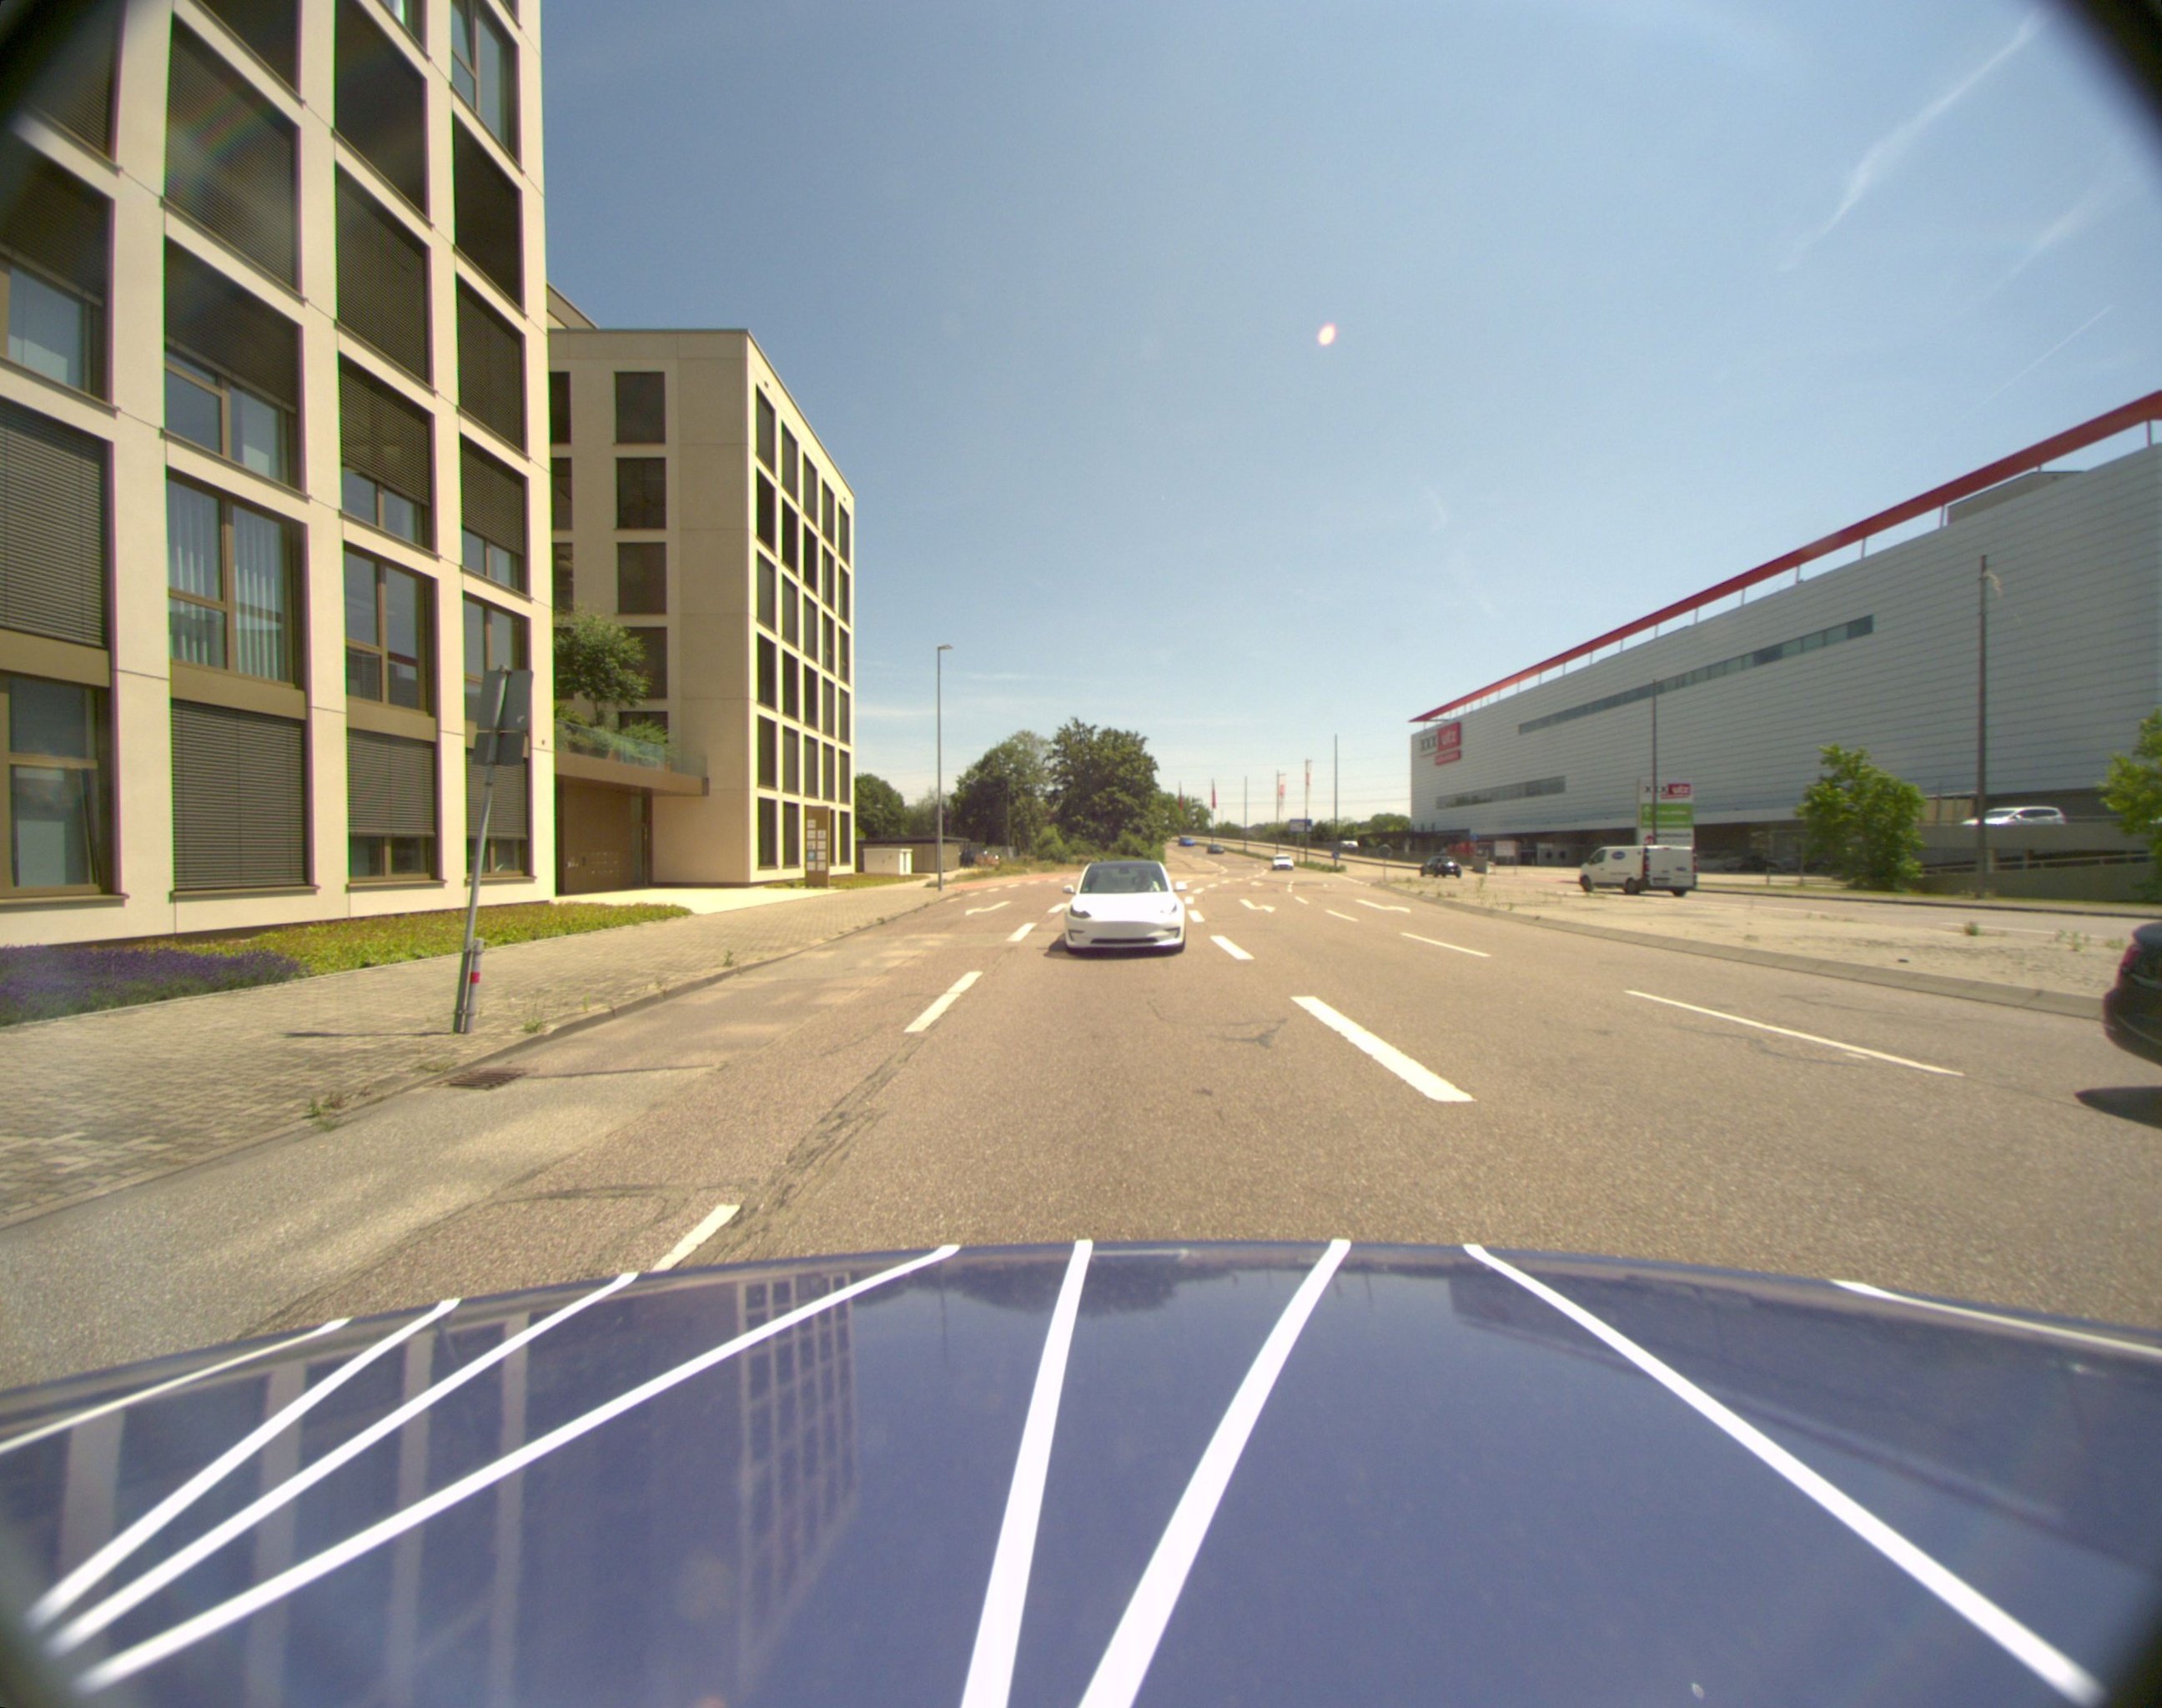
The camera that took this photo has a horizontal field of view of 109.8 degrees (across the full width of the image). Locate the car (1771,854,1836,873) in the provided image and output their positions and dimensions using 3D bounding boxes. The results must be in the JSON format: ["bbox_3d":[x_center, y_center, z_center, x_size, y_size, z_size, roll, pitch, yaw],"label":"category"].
[{"bbox_3d":[60.438,0.779,63.620,3.482,1.487,1.959,0,1,2],"label":"car"}]

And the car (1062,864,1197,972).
[{"bbox_3d":[0.654,0.941,12.998,1.880,1.417,4.405,-1,0,-1],"label":"car"}]

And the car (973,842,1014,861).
[{"bbox_3d":[-9.502,-0.264,82.469,4.005,1.942,1.996,0,1,-25],"label":"car"}]

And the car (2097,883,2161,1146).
[{"bbox_3d":[6.530,0.830,1.993,1.752,1.382,4.534,-1,0,2],"label":"car"}]

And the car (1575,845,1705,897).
[{"bbox_3d":[22.185,0.623,30.450,1.834,1.839,4.842,2,0,4],"label":"car"}]

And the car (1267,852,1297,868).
[{"bbox_3d":[19.124,0.546,72.465,1.735,1.441,4.230,0,0,0],"label":"car"}]

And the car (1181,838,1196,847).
[{"bbox_3d":[18.506,-1.952,130.579,1.802,1.406,4.403,-1,3,-1],"label":"car"}]

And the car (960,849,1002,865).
[{"bbox_3d":[-10.301,0.318,78.451,4.005,1.652,1.834,0,1,-23],"label":"car"}]

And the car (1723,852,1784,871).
[{"bbox_3d":[60.337,0.647,68.243,3.746,1.610,1.912,0,1,0],"label":"car"}]

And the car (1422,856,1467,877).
[{"bbox_3d":[24.498,0.821,51.363,1.859,1.295,3.897,1,0,11],"label":"car"}]
